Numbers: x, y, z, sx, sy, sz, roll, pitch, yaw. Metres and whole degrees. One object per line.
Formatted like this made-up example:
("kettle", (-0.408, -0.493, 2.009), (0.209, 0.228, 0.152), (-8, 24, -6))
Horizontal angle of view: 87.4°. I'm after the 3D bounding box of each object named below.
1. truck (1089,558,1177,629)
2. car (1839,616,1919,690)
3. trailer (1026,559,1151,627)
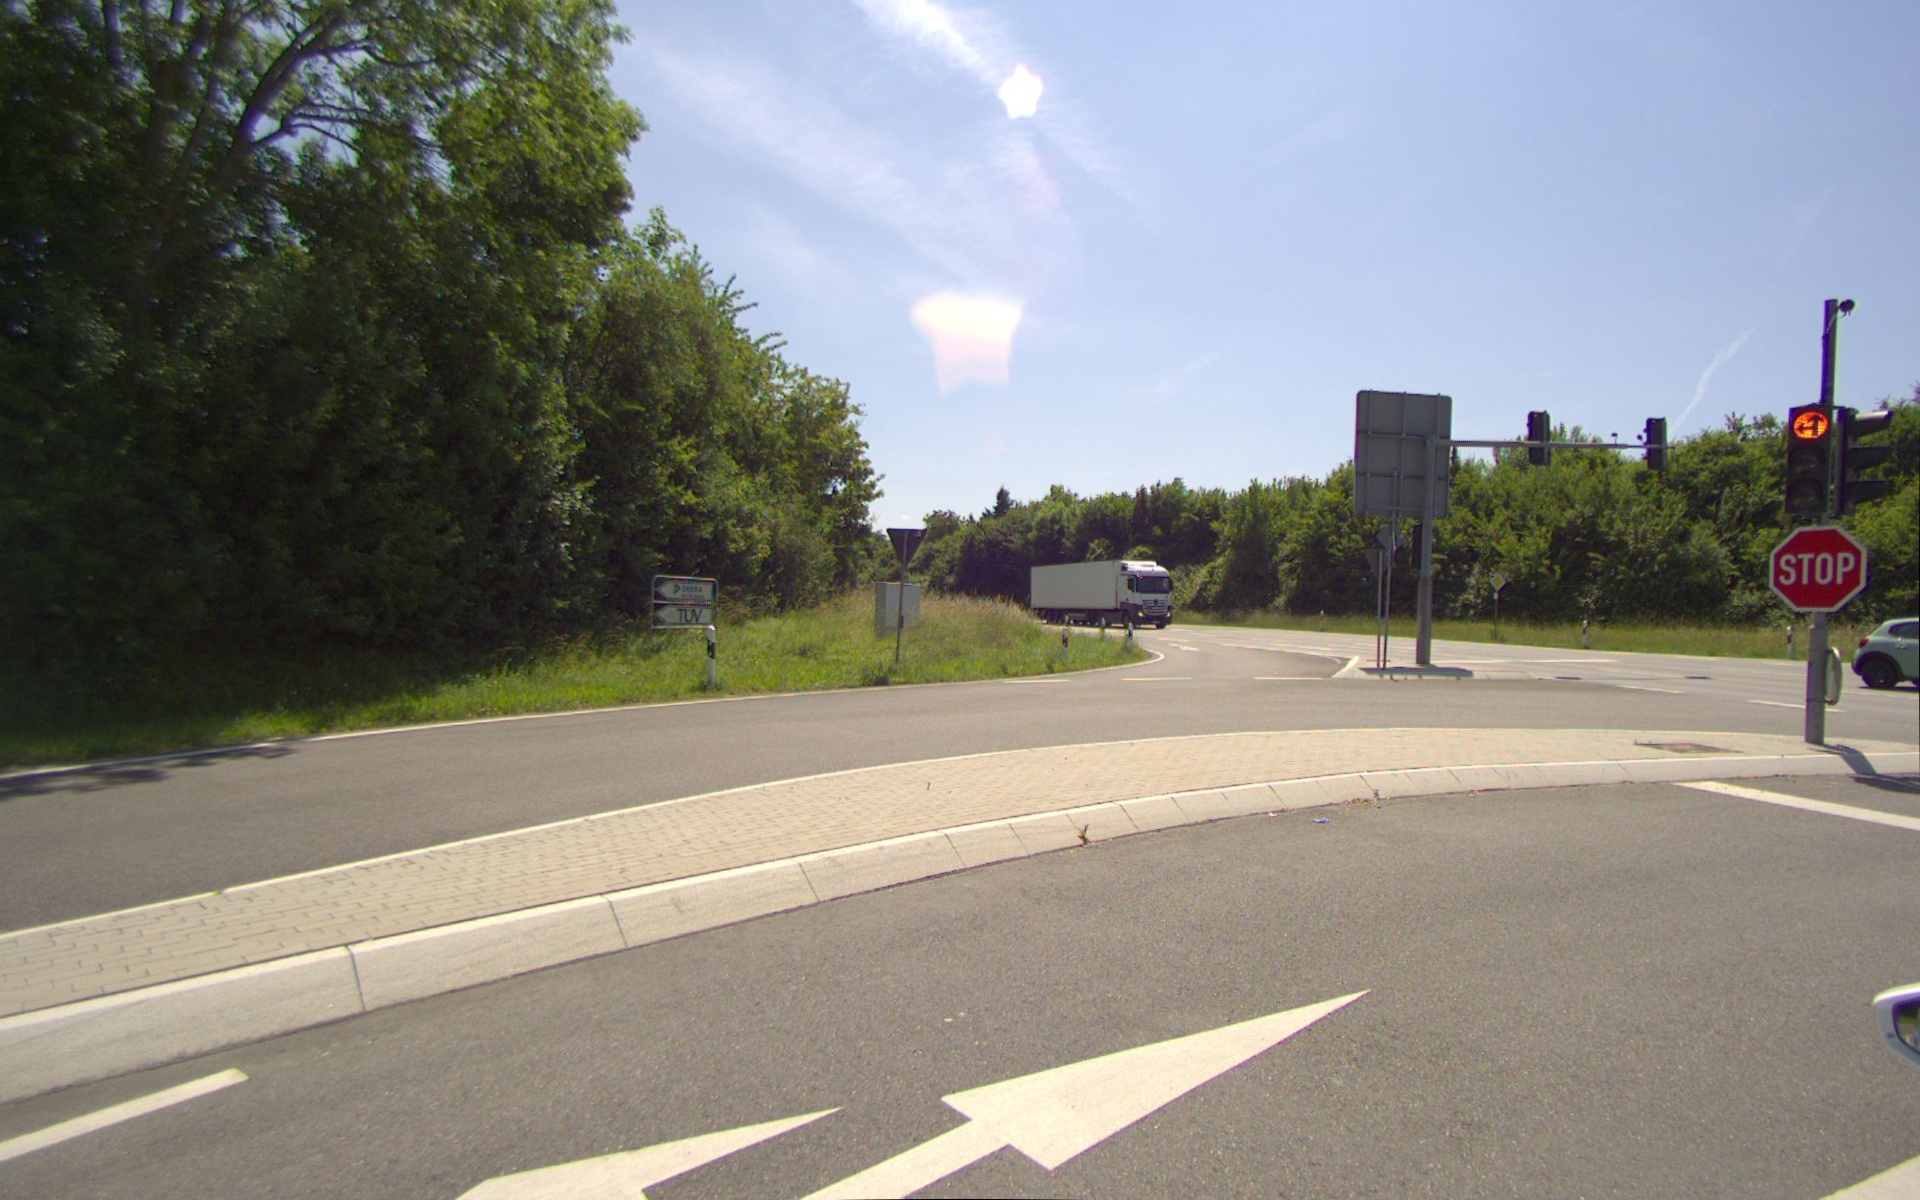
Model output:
("truck", (10.394, -0.381, 61.089), (2.619, 4.090, 6.254), (0, 0, -19))
("car", (19.981, 1.068, 19.611), (1.706, 1.423, 3.972), (0, 0, -17))
("trailer", (8.251, -0.451, 67.464), (2.619, 4.090, 13.779), (0, 0, -19))
